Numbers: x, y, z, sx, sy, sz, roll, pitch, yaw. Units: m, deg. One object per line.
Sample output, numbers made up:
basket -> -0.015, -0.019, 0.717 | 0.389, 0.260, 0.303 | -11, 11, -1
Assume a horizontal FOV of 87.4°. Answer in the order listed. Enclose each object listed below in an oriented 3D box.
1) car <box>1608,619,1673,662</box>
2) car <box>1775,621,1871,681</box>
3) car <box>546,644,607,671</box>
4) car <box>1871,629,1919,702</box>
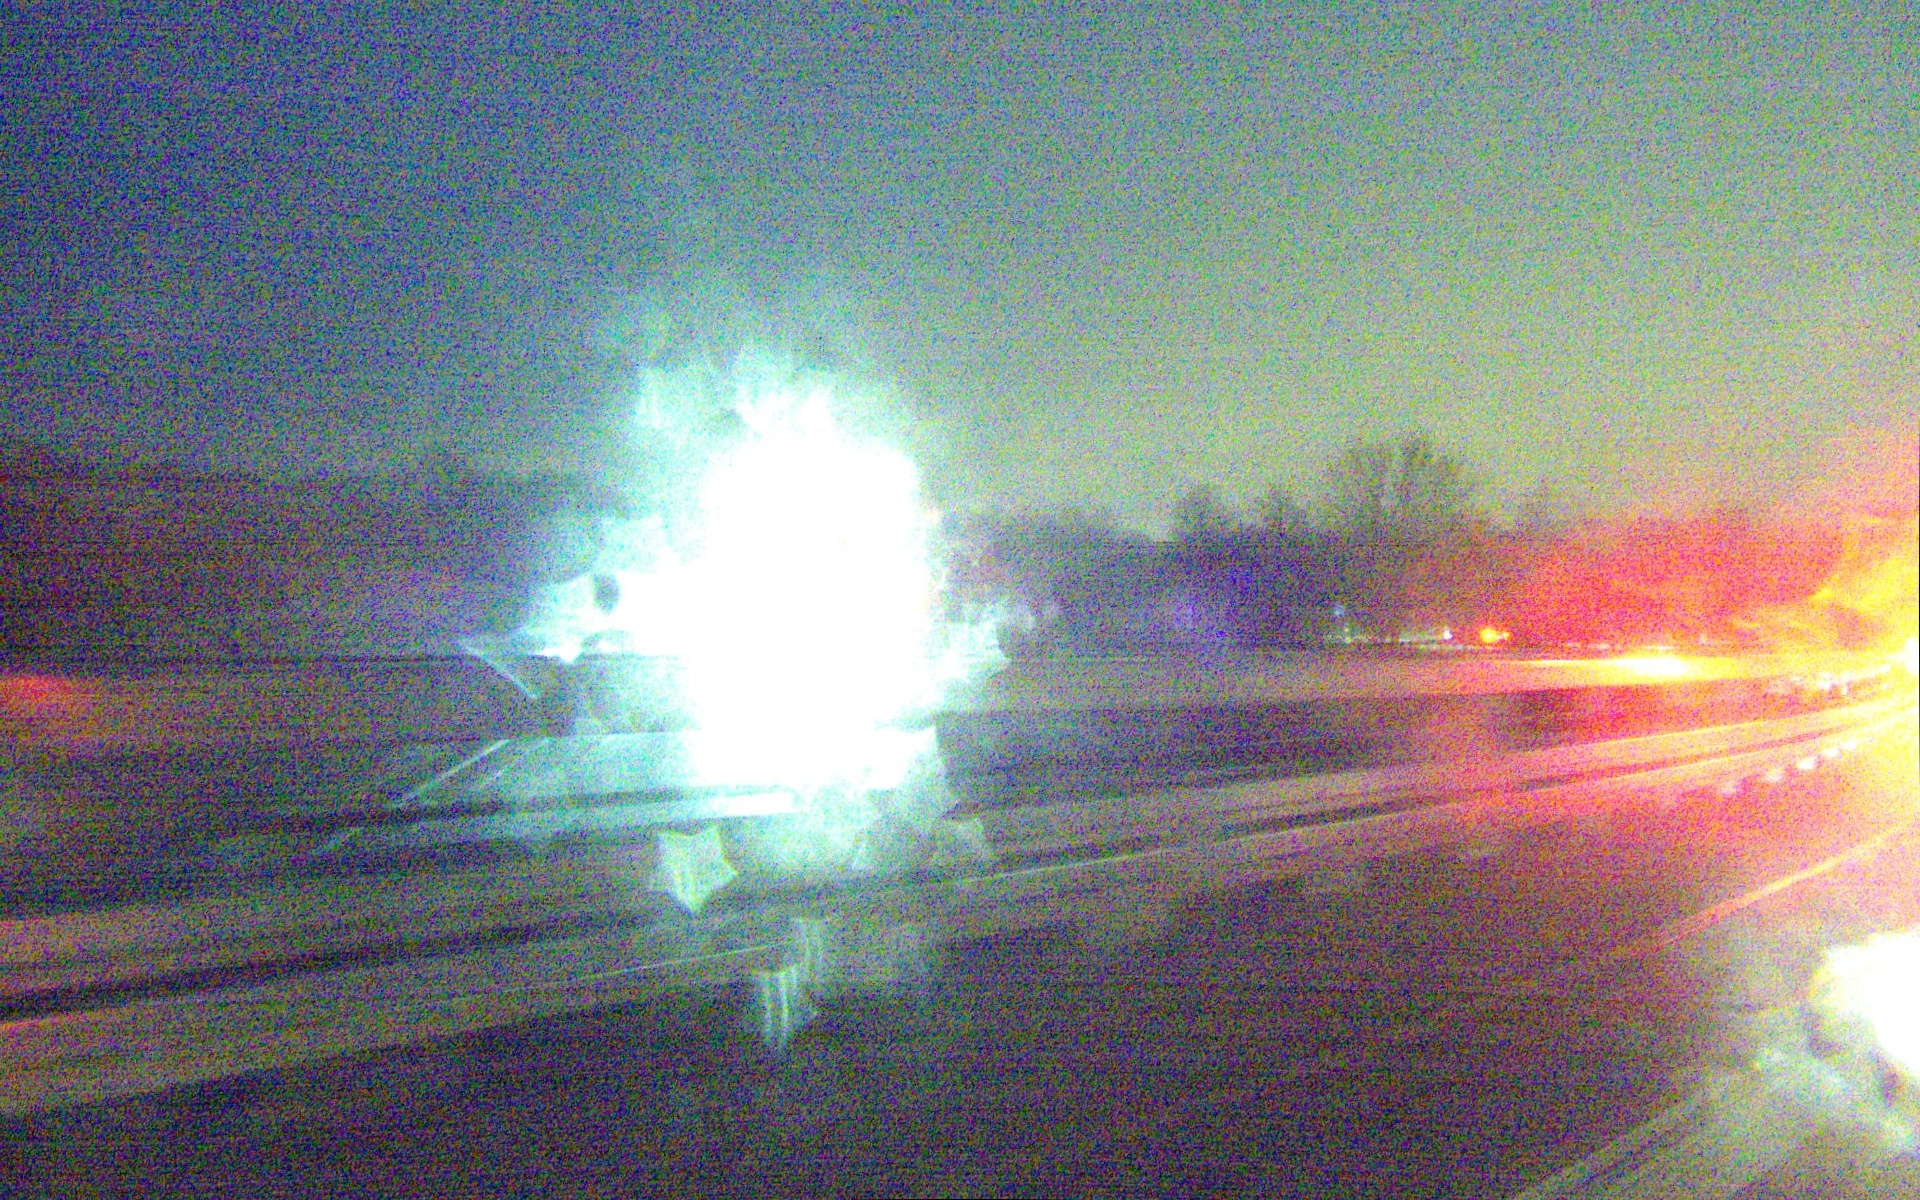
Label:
car -> 35.912, 2.071, 53.115 | 1.864, 2.024, 4.045 | 3, 1, 20
car -> 32.711, 1.879, 38.177 | 1.867, 2.067, 4.040 | 2, 0, 28
car -> -26.317, 3.954, 69.005 | 1.691, 1.786, 3.828 | -1, -4, 23
car -> 25.195, 1.673, 25.898 | 1.869, 1.743, 4.034 | 2, 0, 33
